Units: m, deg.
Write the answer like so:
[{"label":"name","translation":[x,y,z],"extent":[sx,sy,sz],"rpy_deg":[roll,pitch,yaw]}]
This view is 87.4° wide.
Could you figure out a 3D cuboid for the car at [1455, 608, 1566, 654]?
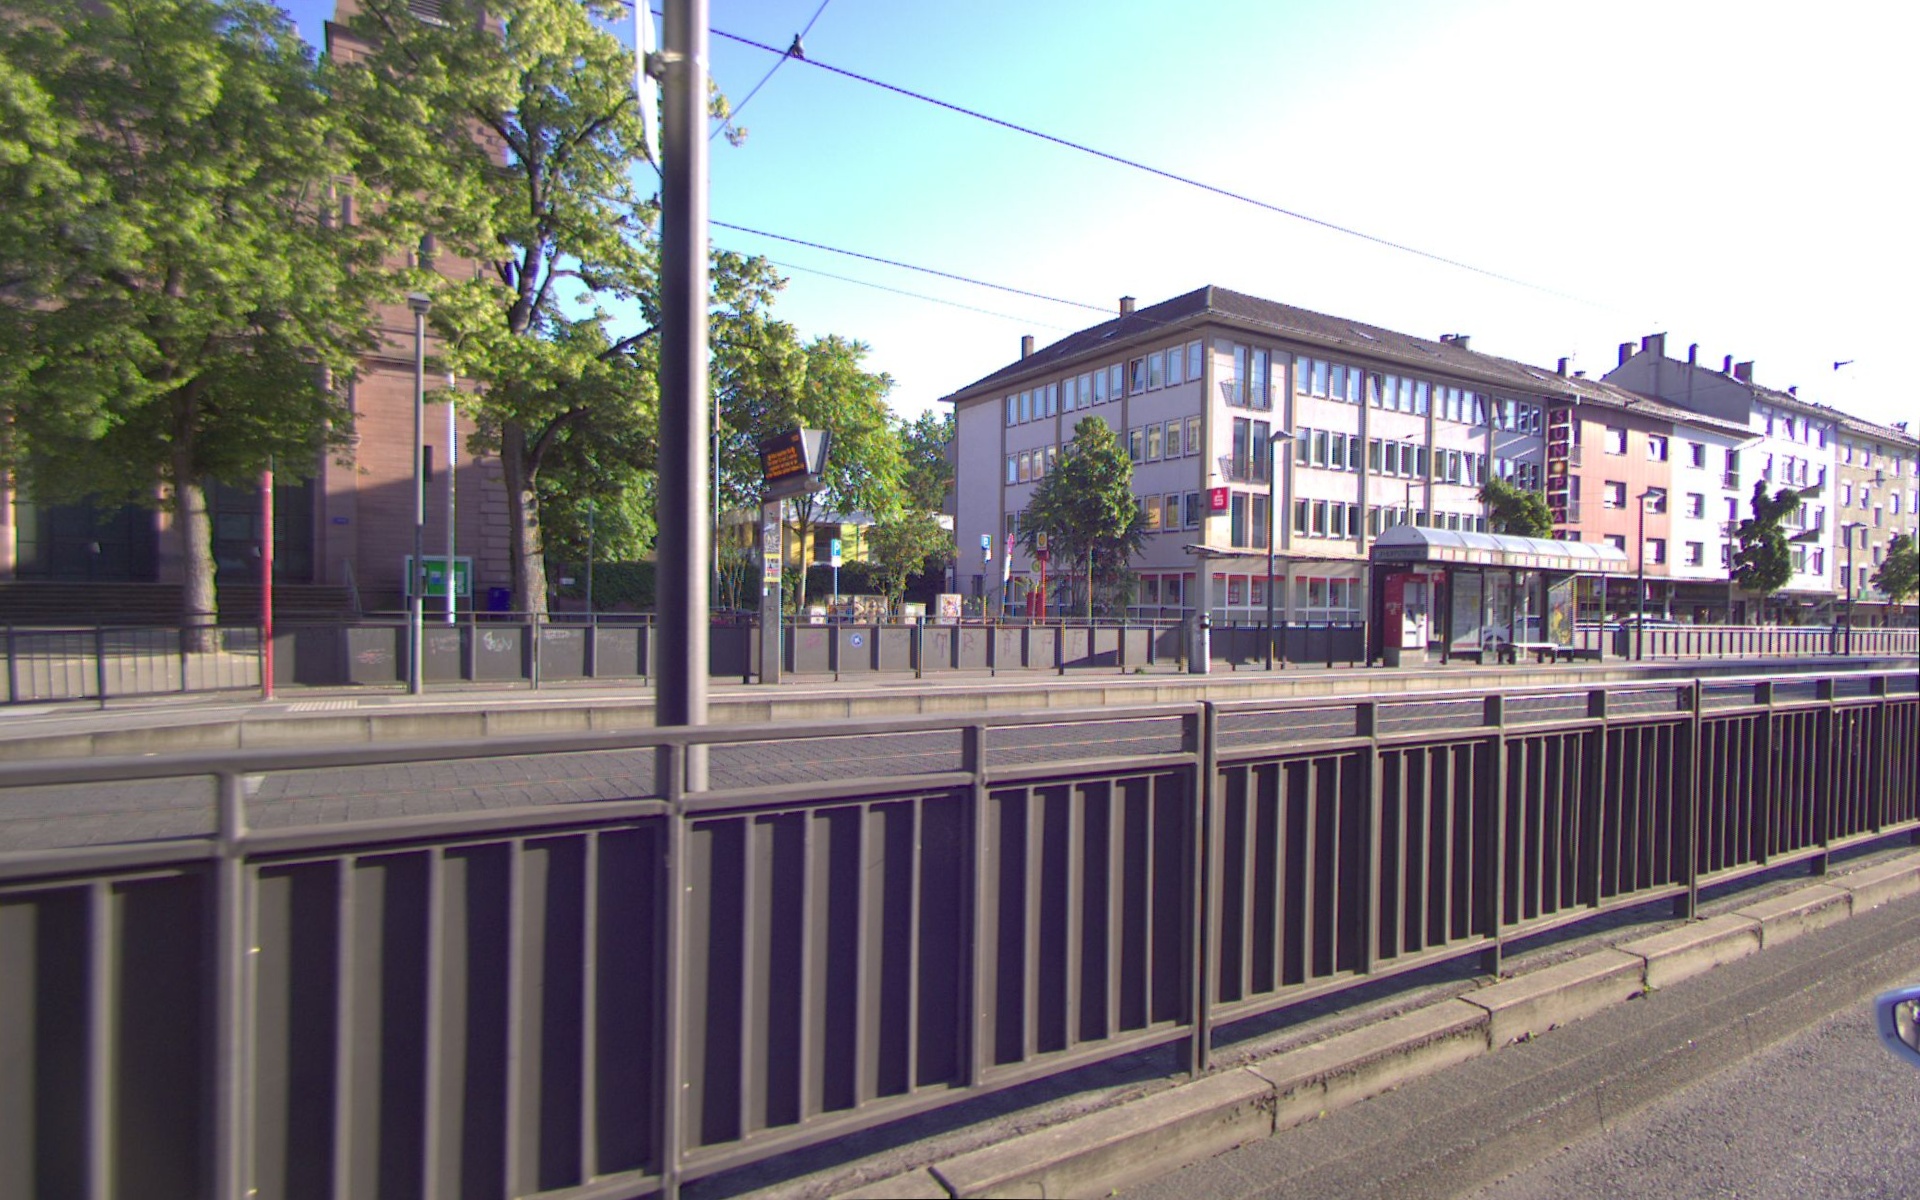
[{"label":"car","translation":[21.858,1.205,40.016],"extent":[3.439,1.702,1.772],"rpy_deg":[1,0,9]}]
